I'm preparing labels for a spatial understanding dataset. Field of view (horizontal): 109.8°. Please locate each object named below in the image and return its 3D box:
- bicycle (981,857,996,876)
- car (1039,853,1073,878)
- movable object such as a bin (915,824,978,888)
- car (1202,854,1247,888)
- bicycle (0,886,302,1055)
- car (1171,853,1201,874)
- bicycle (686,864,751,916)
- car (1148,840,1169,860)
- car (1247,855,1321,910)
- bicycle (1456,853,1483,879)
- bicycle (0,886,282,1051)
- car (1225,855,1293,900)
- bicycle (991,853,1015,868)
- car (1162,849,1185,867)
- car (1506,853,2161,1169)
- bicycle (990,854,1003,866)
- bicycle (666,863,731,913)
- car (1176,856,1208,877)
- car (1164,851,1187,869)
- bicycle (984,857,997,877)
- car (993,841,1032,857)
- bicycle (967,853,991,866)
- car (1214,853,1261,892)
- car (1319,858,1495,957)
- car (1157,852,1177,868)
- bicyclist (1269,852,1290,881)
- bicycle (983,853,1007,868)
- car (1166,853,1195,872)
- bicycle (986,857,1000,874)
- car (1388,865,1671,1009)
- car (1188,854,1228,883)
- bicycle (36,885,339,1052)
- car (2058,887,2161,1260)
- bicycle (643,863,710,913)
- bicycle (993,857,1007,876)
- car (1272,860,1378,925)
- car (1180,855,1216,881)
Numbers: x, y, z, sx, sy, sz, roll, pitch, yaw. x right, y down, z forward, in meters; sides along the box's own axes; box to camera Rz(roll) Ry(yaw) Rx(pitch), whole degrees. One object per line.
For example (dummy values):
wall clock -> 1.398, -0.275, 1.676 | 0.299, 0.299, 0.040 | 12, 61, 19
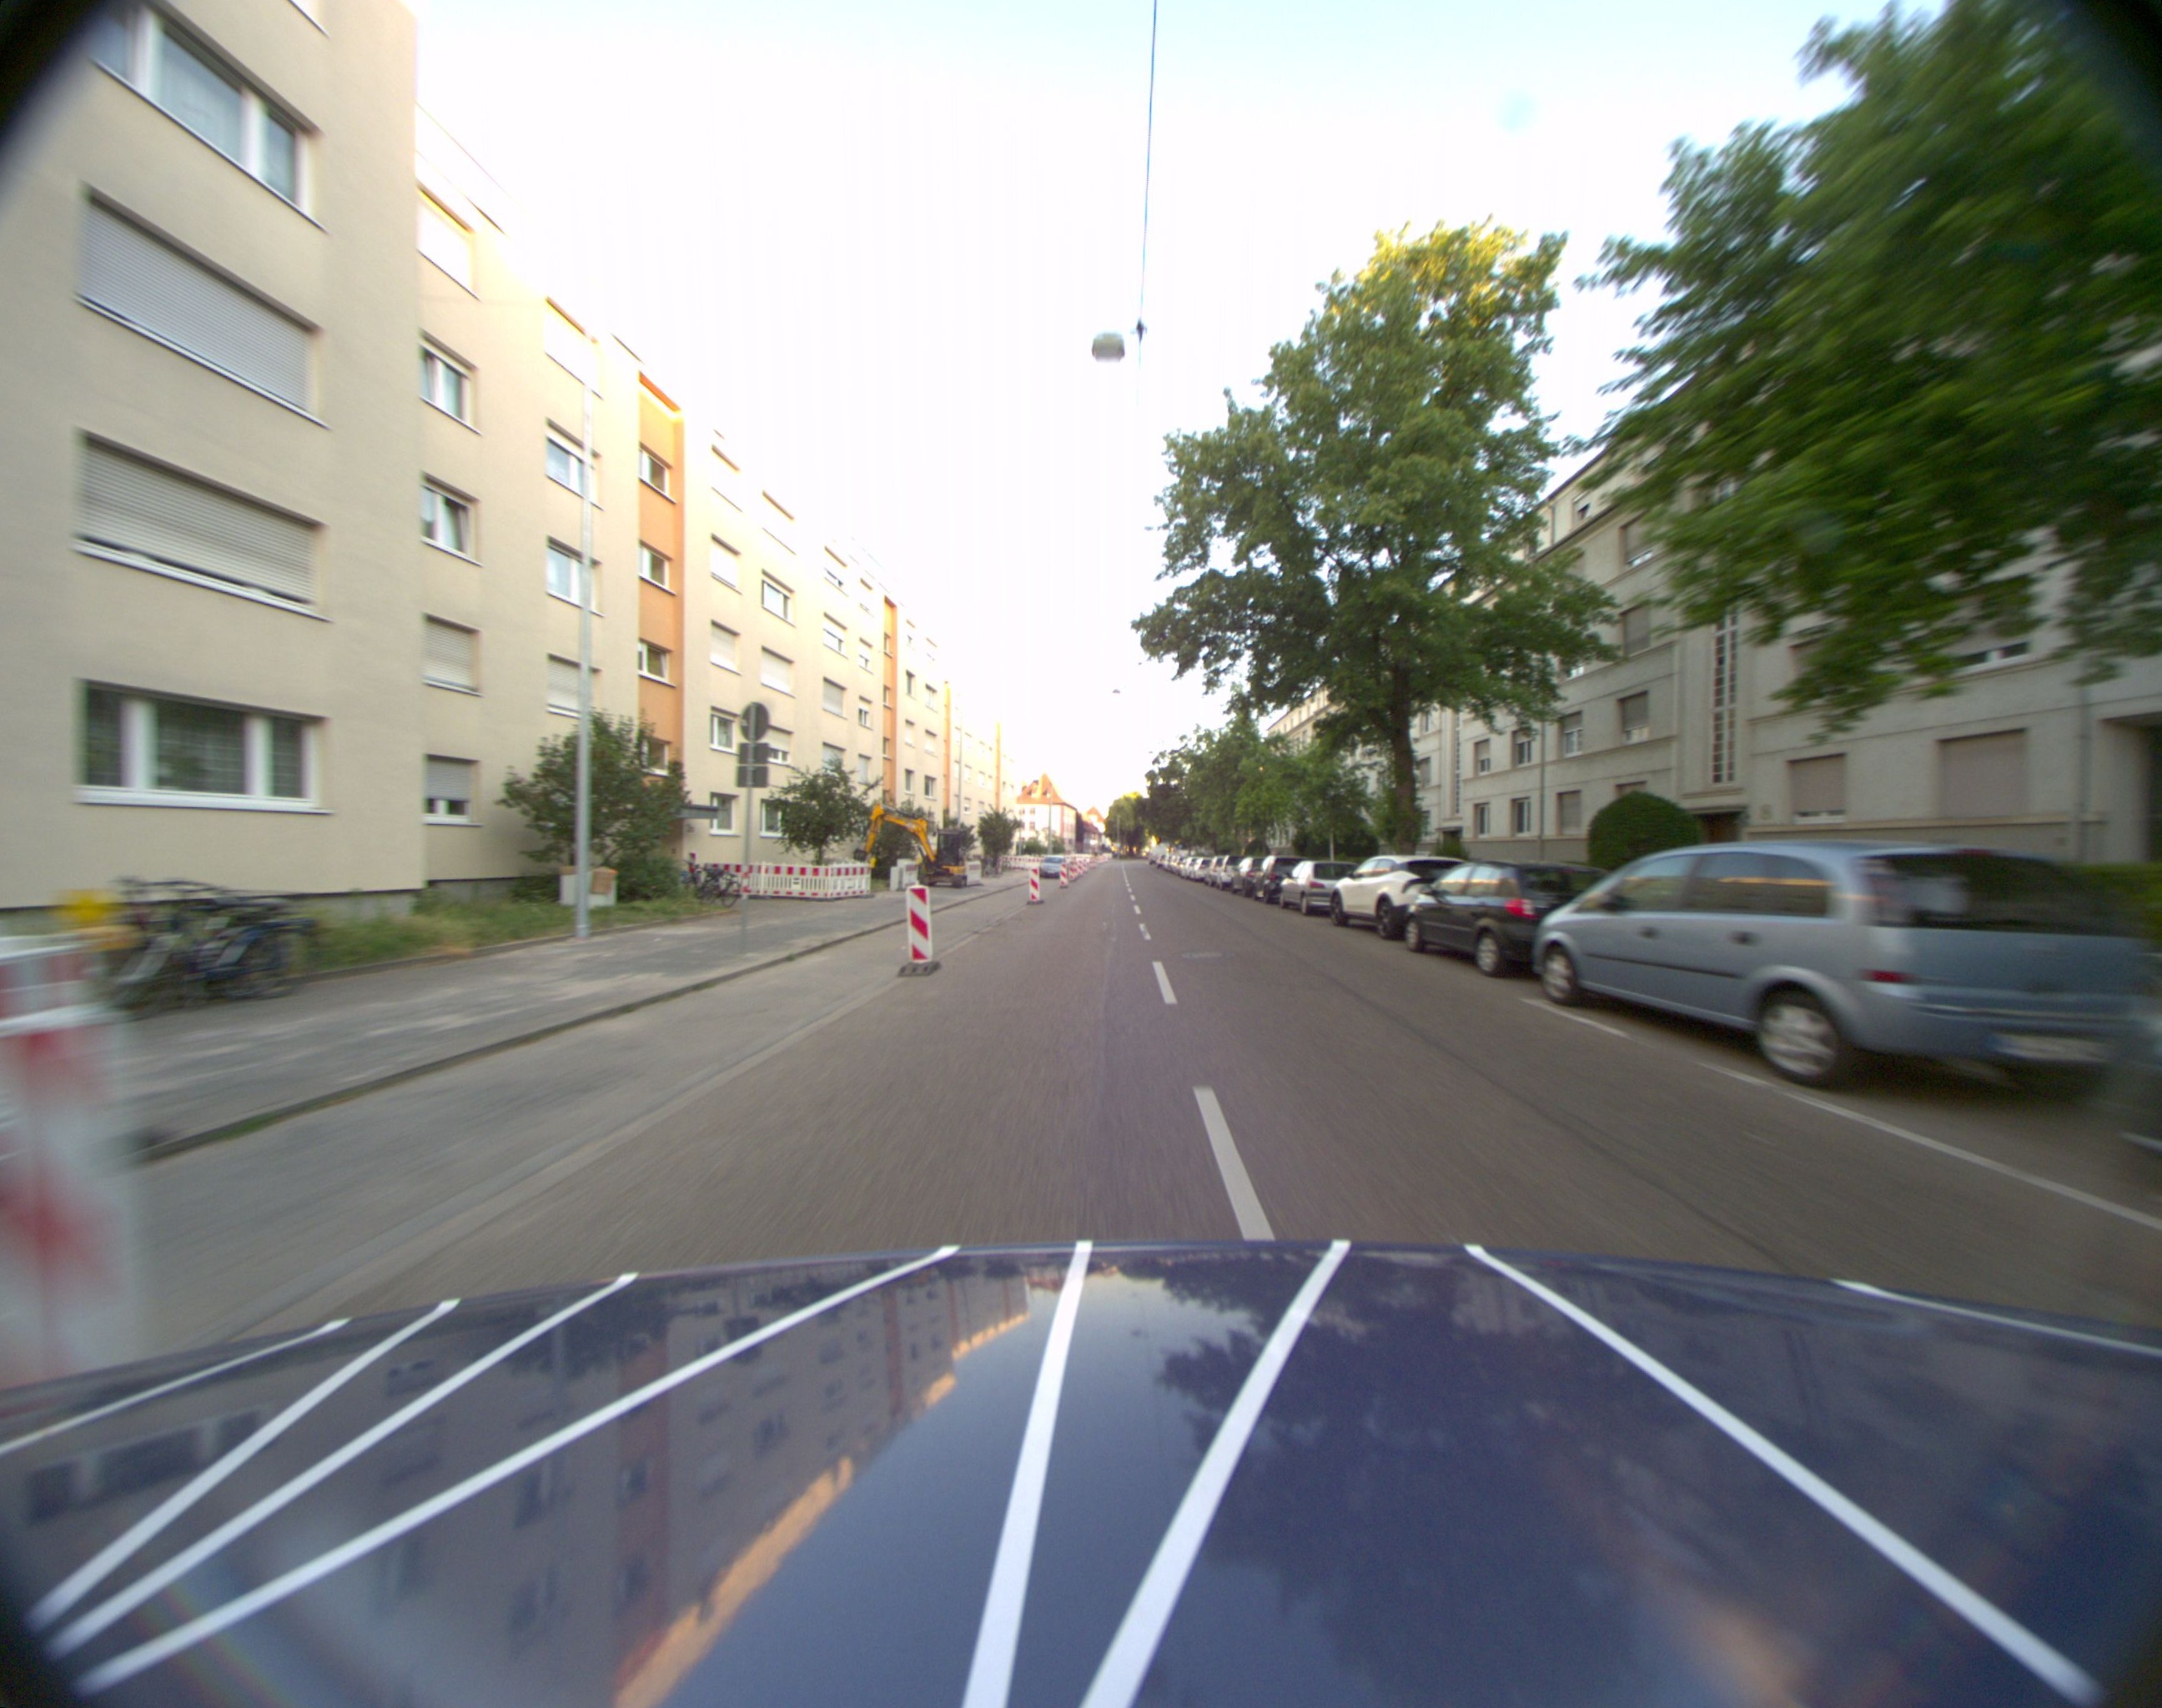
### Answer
bicycle -> -5.998, 0.787, 49.291 | 0.557, 1.165, 1.817 | 0, 1, 5
car -> -1.646, 0.750, 52.081 | 1.780, 1.482, 4.574 | 4, 1, 4
movable object such as a bin -> -5.885, 0.071, 33.547 | 1.937, 2.677, 2.893 | 0, 1, 7
car -> 7.054, 0.785, 37.776 | 1.594, 1.496, 3.800 | 3, 1, 2
bicycle -> -8.167, 0.936, 6.794 | 0.399, 1.215, 1.911 | 0, 1, 1
car -> 8.030, 0.675, 58.410 | 1.678, 1.451, 3.705 | 3, 1, 0
bicycle -> -8.855, 0.857, 18.635 | 0.557, 1.165, 1.817 | 0, 1, 5
car -> 9.993, -0.497, 98.056 | 2.184, 2.447, 6.104 | 3, 1, 3
car -> 6.474, 0.865, 24.532 | 1.526, 1.520, 3.164 | 3, 1, 1
bicycle -> 18.912, 0.580, 37.029 | 0.557, 1.223, 1.817 | 0, 1, 5
bicycle -> -8.415, 0.939, 6.874 | 0.399, 1.215, 1.826 | 0, 1, 1
car -> 6.655, 0.843, 28.803 | 1.594, 1.458, 4.102 | 3, 1, 1
bicycle -> -6.386, 0.523, 62.419 | 1.815, 1.017, 0.558 | 5, 2, 4
car -> 8.942, 0.381, 73.454 | 1.756, 1.622, 4.107 | 3, 1, 1
car -> 5.417, 0.852, 6.145 | 1.711, 1.591, 4.117 | 3, 1, 3
bicycle -> -7.092, 0.502, 63.742 | 0.559, 0.860, 1.610 | 4, 2, -25
bicycle -> -9.563, 0.827, 19.069 | 0.557, 1.165, 1.817 | 0, 1, 5
car -> 7.819, 0.837, 53.733 | 1.678, 1.324, 4.580 | 3, 1, 2
car -> 8.523, 0.553, 68.898 | 1.756, 1.471, 3.945 | 3, 1, 4
bicycle -> -5.629, 0.800, 47.241 | 0.628, 1.165, 1.814 | 0, 1, -14
car -> -9.615, -0.706, 106.801 | 5.029, 2.117, 2.292 | 0, 1, 10
bicycle -> -8.287, 0.428, 61.724 | 1.821, 0.916, 0.556 | 4, 2, -38
car -> 6.845, 0.787, 33.489 | 1.593, 1.520, 2.922 | 3, 1, 5
car -> 6.154, 0.914, 14.926 | 1.594, 1.530, 4.206 | 3, 1, 0
car -> 8.882, 0.593, 78.758 | 1.756, 1.463, 4.225 | 3, 1, 4
bicyclist -> 9.881, 0.609, 37.888 | 0.810, 1.396, 0.973 | 0, 1, 2
bicycle -> -6.843, 0.510, 60.703 | 1.755, 0.981, 0.558 | 6, 2, 12
car -> 8.275, 0.683, 63.523 | 1.756, 1.471, 4.678 | 3, 1, 1
bicycle -> -5.947, 0.764, 51.339 | 0.557, 1.165, 1.817 | 0, 1, 5
car -> 5.813, 0.956, 10.479 | 1.711, 1.444, 3.843 | 3, 1, 3
car -> 7.297, 0.806, 44.009 | 1.696, 1.451, 4.483 | 3, 1, 2
bicycle -> -7.887, 0.930, 6.871 | 0.452, 1.215, 1.911 | 0, 1, 1
car -> 5.032, 0.932, 1.193 | 1.736, 1.488, 4.272 | 2, 0, 7
bicycle -> -10.161, 0.833, 19.149 | 0.557, 1.165, 1.817 | 0, 1, 5
bicycle -> -5.085, 0.784, 47.717 | 0.558, 1.165, 1.814 | 0, 1, -17
car -> 6.365, 0.941, 20.304 | 1.593, 1.396, 4.181 | 3, 1, 3
car -> 7.439, 0.858, 48.705 | 1.696, 1.451, 4.145 | 3, 1, 1
